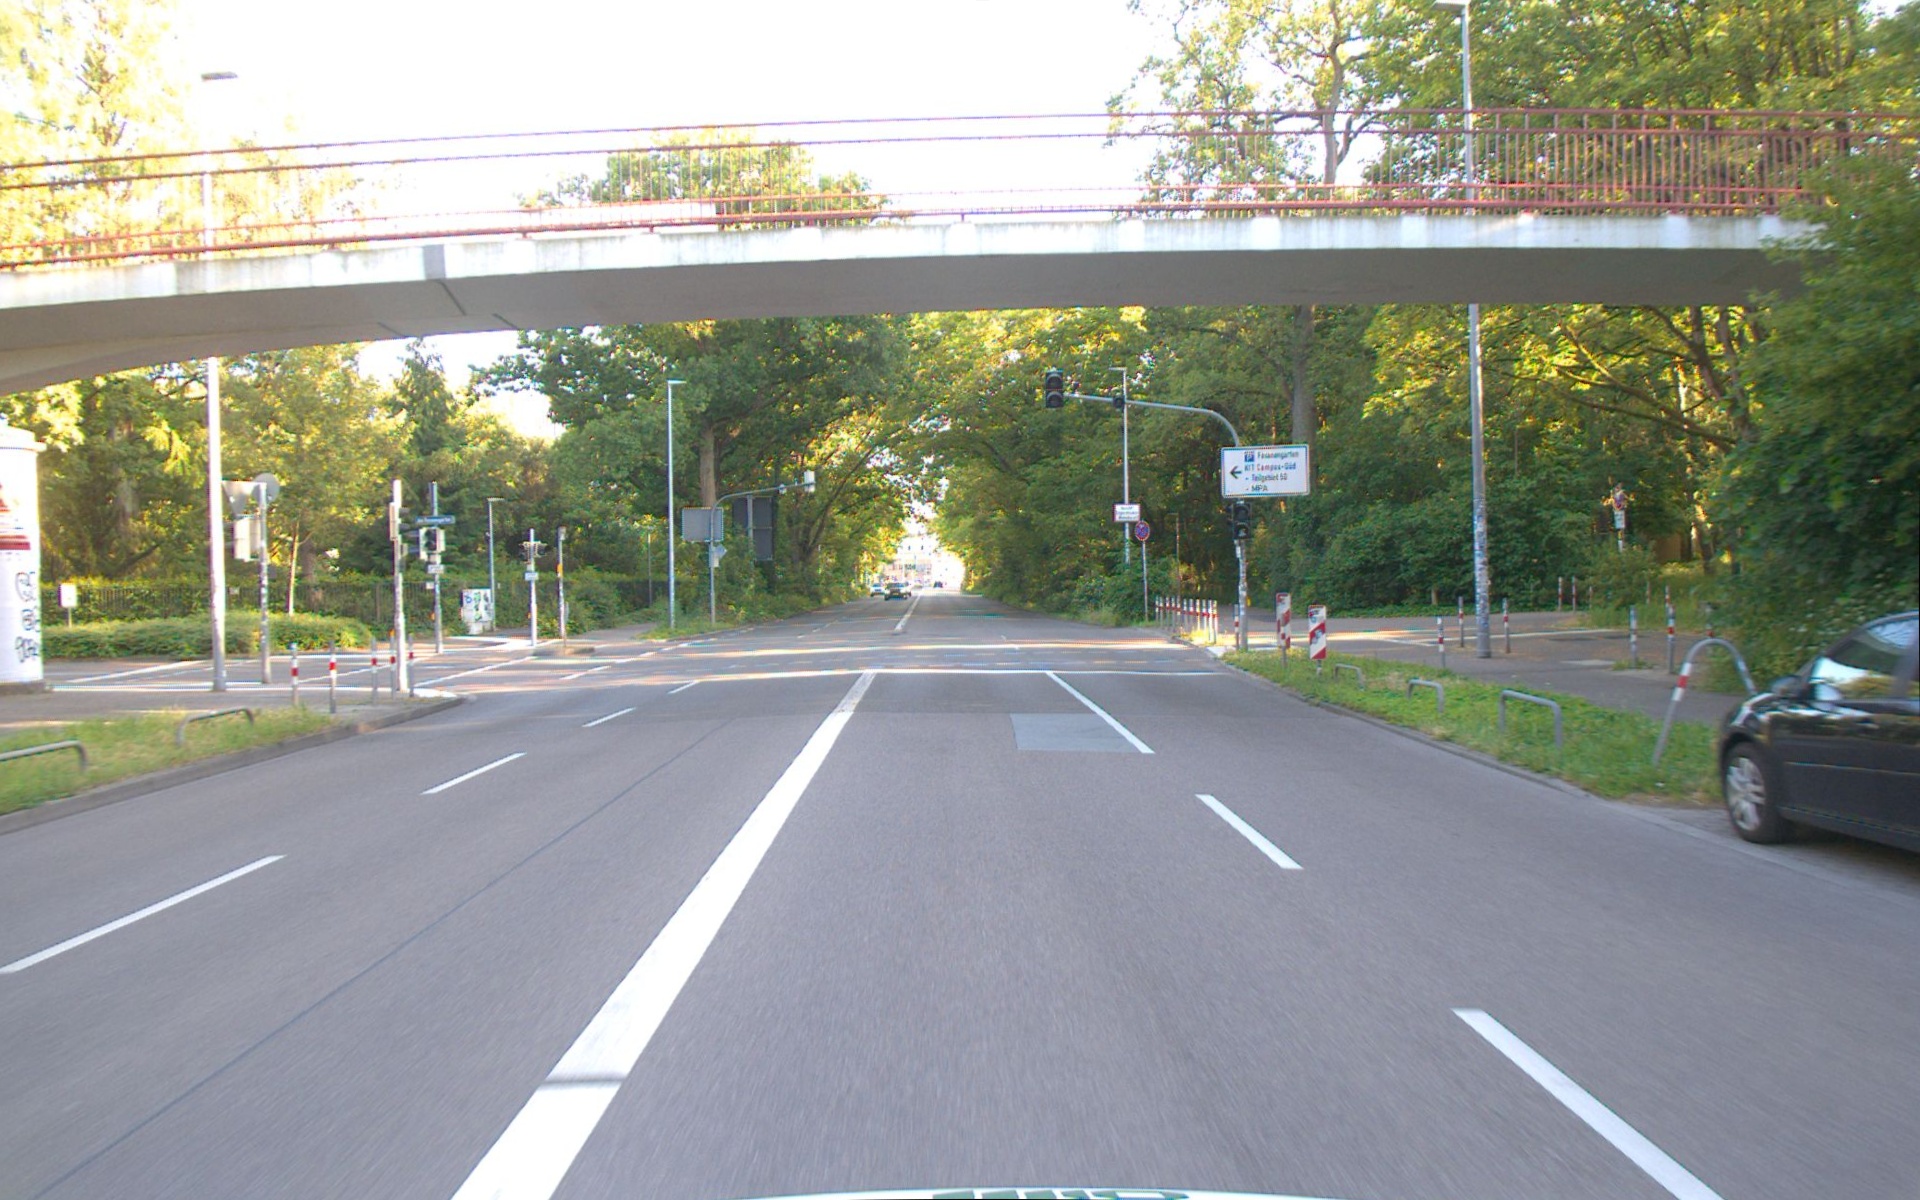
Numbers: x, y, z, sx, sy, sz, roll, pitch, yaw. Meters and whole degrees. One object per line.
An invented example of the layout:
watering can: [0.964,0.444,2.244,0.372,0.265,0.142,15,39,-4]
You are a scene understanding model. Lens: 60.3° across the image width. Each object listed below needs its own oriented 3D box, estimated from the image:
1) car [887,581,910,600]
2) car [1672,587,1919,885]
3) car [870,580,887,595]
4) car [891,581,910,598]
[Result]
car: [-5.150,-0.780,138.833,1.849,1.533,4.362,-2,0,-2]
car: [5.761,0.690,9.105,1.738,1.479,4.387,-2,0,0]
car: [-8.798,-1.337,178.313,1.761,1.533,4.362,-2,0,-2]
car: [-5.860,-1.049,163.092,1.761,1.533,4.362,-2,0,-2]
